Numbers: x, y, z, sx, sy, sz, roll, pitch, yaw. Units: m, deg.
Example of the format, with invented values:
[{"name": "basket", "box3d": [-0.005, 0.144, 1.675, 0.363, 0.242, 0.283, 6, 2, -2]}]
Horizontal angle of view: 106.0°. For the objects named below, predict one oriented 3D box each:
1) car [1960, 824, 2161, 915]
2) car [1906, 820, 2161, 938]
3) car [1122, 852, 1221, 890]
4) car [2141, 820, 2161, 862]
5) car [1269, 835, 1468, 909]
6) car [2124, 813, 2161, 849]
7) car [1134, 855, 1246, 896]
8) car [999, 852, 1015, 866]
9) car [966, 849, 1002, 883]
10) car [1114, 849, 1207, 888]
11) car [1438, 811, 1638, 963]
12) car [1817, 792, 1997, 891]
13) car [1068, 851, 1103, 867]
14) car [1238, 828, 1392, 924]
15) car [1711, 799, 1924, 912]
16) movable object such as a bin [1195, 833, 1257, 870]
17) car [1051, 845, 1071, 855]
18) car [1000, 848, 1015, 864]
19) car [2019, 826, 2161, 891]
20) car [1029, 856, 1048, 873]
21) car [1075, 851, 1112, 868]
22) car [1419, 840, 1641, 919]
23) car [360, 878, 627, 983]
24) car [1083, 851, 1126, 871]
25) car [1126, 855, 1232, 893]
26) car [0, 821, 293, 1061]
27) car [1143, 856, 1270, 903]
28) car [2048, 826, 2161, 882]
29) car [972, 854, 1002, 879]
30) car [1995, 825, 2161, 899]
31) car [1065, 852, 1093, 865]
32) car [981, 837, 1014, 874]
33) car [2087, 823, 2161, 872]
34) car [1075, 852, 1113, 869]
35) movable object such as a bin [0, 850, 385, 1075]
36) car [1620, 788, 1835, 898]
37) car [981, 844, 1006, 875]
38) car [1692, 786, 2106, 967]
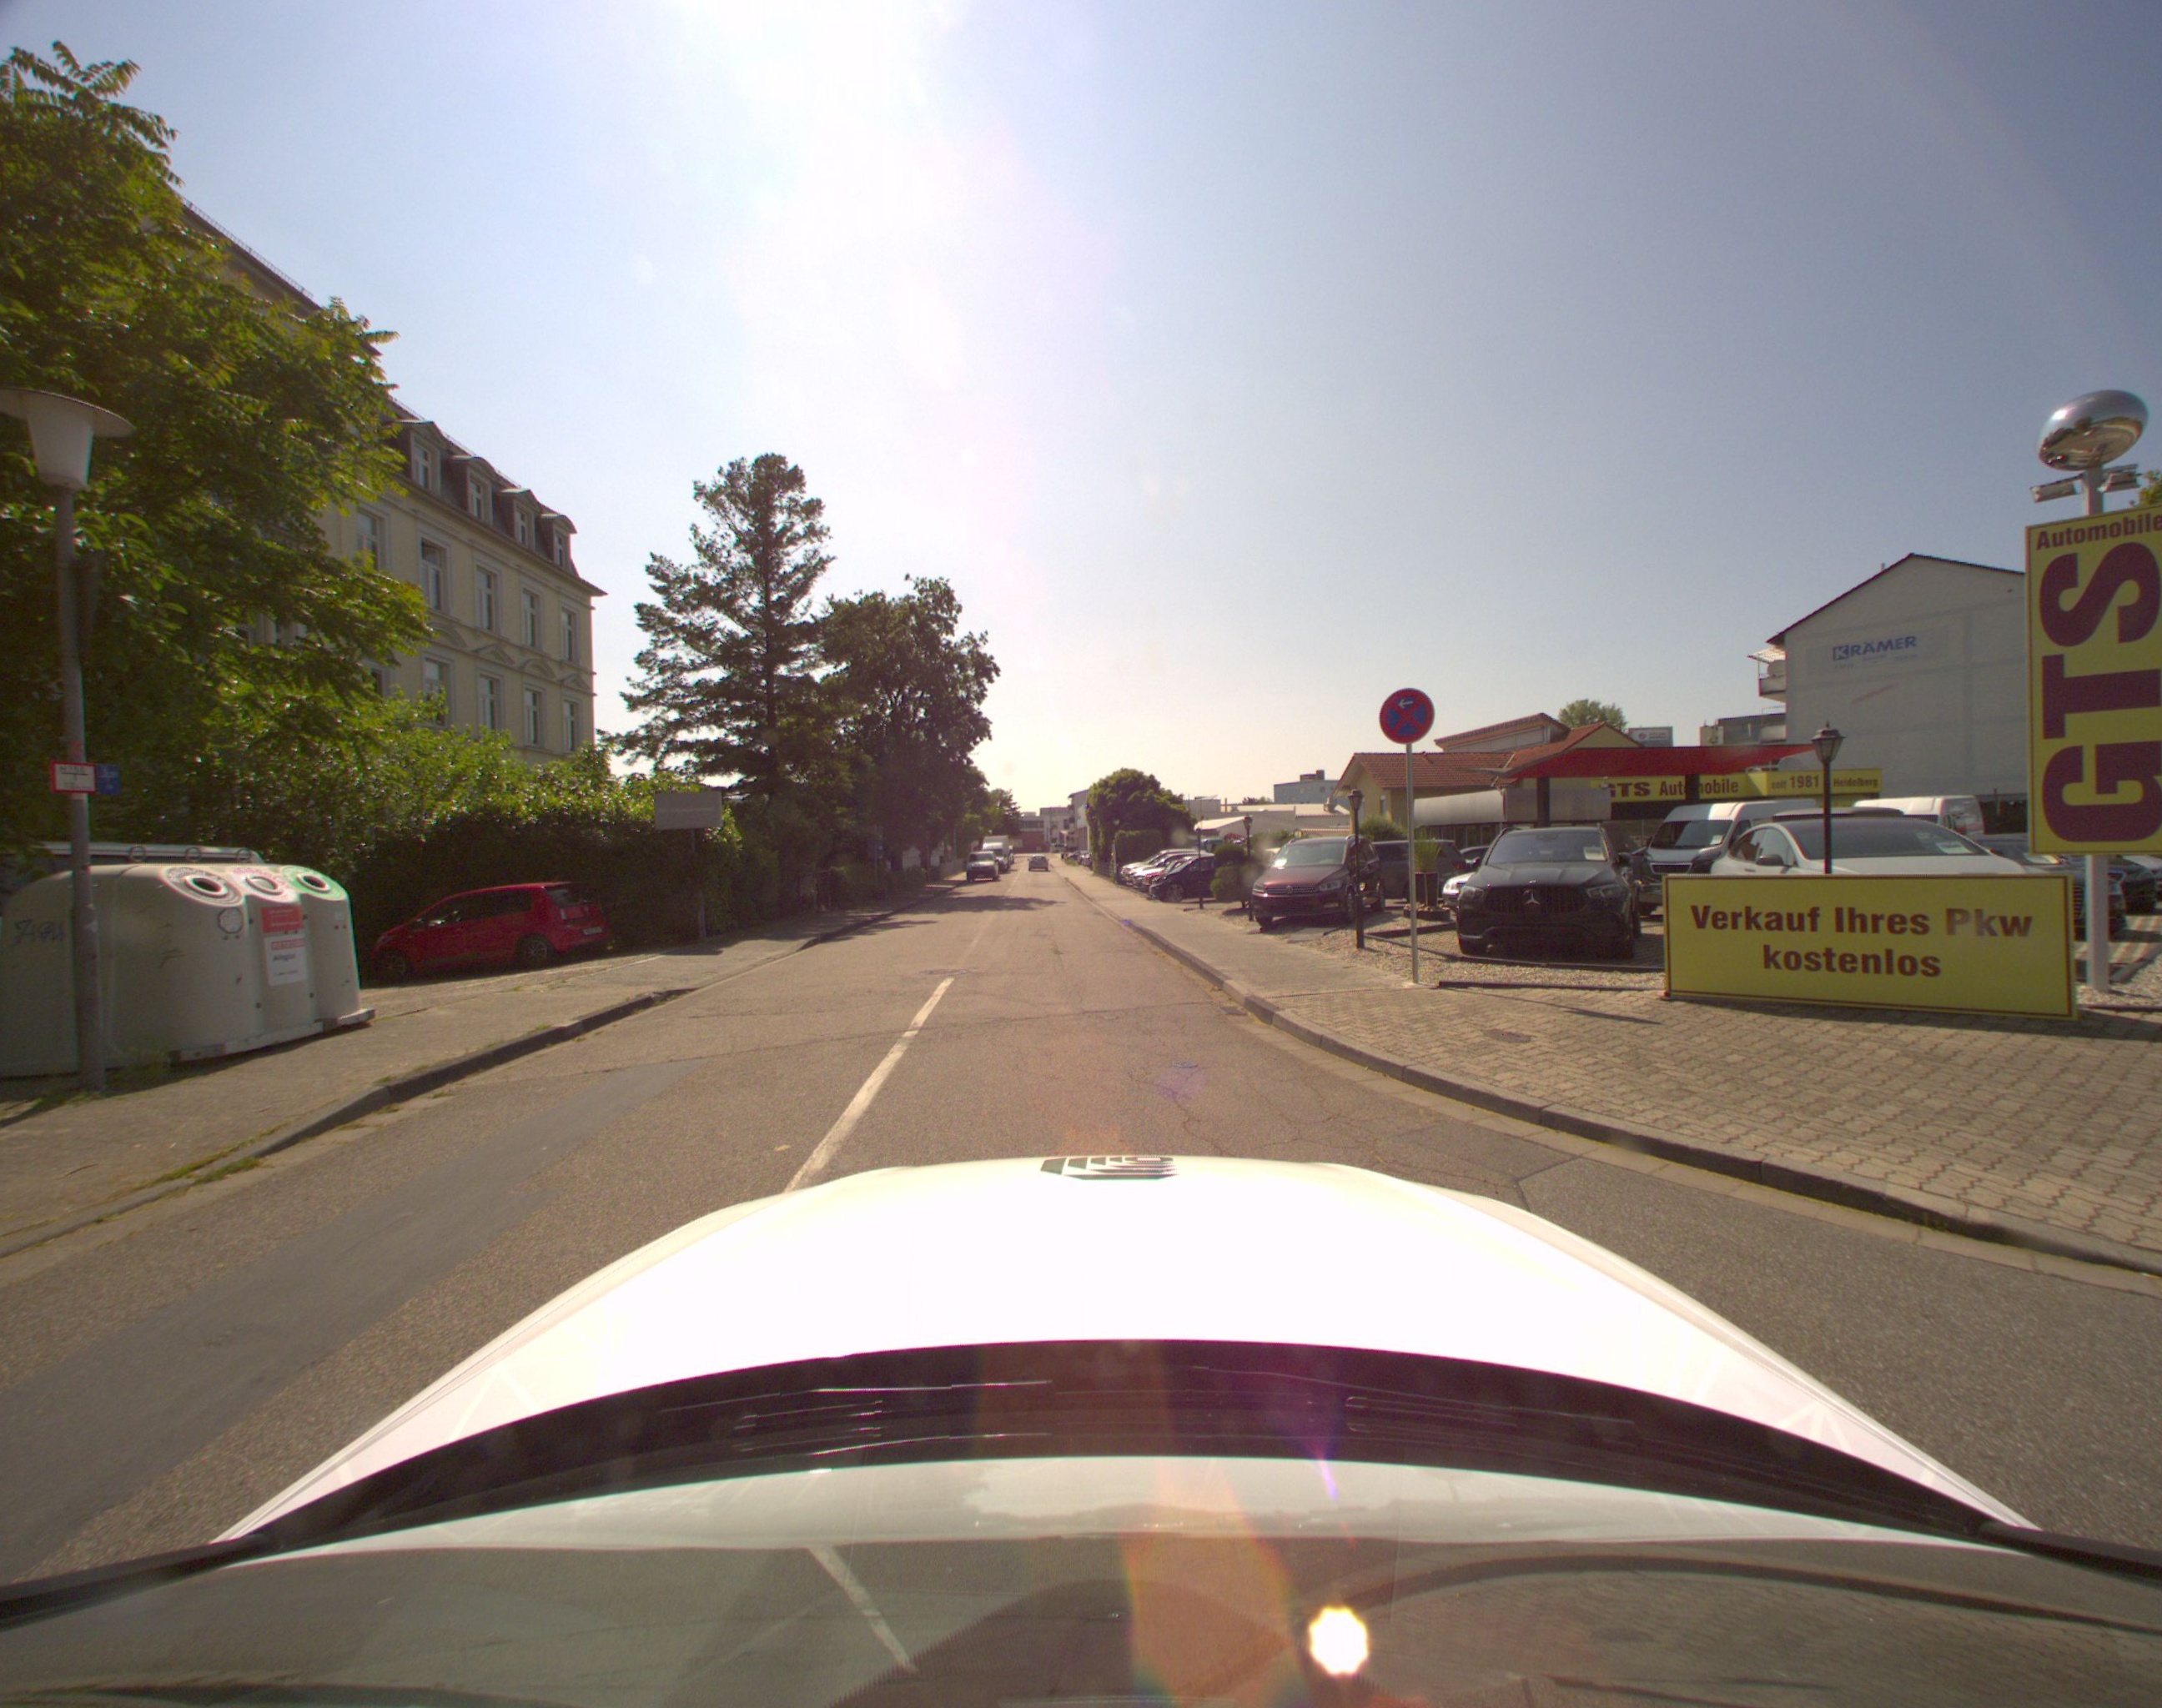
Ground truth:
[{"name": "car", "box3d": [18.623, 0.258, 15.375, 1.818, 1.473, 4.025, -4, -2, 34]}, {"name": "car", "box3d": [14.277, 0.342, 12.210, 1.818, 1.473, 4.025, -4, -2, 34]}, {"name": "car", "box3d": [4.062, 0.749, 36.924, 4.107, 1.603, 1.866, -1, 0, -6]}, {"name": "car", "box3d": [37.781, -0.502, 26.974, 1.759, 1.473, 4.025, -4, -2, 29]}, {"name": "car", "box3d": [7.738, 0.496, 22.188, 4.836, 1.842, 2.173, -1, 0, 19]}, {"name": "car", "box3d": [59.742, -1.272, 44.130, 1.768, 1.958, 3.890, -1, 2, -40]}, {"name": "car", "box3d": [4.252, 0.819, 32.010, 4.040, 1.489, 1.794, -1, 0, -6]}, {"name": "car", "box3d": [-9.310, 0.643, 102.642, 1.827, 1.686, 3.995, -1, 0, -3]}, {"name": "car", "box3d": [-6.310, 0.783, 53.374, 2.030, 2.056, 3.995, -1, -1, -3]}, {"name": "car", "box3d": [3.813, 0.677, 39.445, 4.153, 1.750, 1.888, -1, 0, -6]}, {"name": "car", "box3d": [6.617, 0.430, 11.528, 2.022, 1.707, 4.342, -2, -2, 35]}, {"name": "car", "box3d": [22.782, -0.358, 22.393, 5.739, 2.429, 2.231, 0, 3, -32]}, {"name": "car", "box3d": [0.519, 0.536, 92.163, 3.820, 1.763, 1.780, 0, 0, -3]}, {"name": "car", "box3d": [4.845, 0.395, 16.419, 1.787, 1.656, 4.342, -3, -1, 32]}, {"name": "car", "box3d": [17.317, 0.043, 19.120, 4.836, 2.350, 2.232, 0, -1, -29]}, {"name": "movable object such as a bin", "box3d": [12.041, -0.220, 67.816, 4.803, 2.907, 1.999, -1, 0, -1]}, {"name": "car", "box3d": [-4.196, -0.824, 169.239, 3.988, 1.909, 1.809, -1, 1, -11]}, {"name": "car", "box3d": [-9.725, 0.292, 108.503, 1.827, 2.118, 3.995, -1, 0, -3]}, {"name": "car", "box3d": [26.440, 0.094, 20.884, 1.651, 1.473, 4.024, -4, -2, 27]}, {"name": "car", "box3d": [-3.915, 0.934, 75.320, 1.673, 1.493, 4.601, -1, 0, -3]}, {"name": "car", "box3d": [1.328, 0.603, 86.259, 3.820, 1.763, 1.854, 0, 0, -3]}, {"name": "car", "box3d": [10.428, 0.533, 18.919, 4.687, 1.575, 1.902, -2, 0, -20]}, {"name": "car", "box3d": [-10.276, 1.295, 14.441, 3.385, 1.466, 1.694, -4, 0, 0]}, {"name": "car", "box3d": [2.147, 0.662, 74.461, 3.820, 1.763, 1.854, 0, 0, -3]}, {"name": "car", "box3d": [4.095, 0.818, 34.399, 4.101, 1.489, 1.866, -1, 0, -6]}, {"name": "car", "box3d": [-9.616, 0.749, 6.547, 1.877, 1.920, 4.531, -3, -3, 6]}, {"name": "car", "box3d": [4.389, 0.880, 28.900, 4.114, 1.489, 1.866, -1, 0, -6]}, {"name": "car", "box3d": [30.298, -0.027, 23.538, 1.651, 1.473, 4.025, -4, -2, 29]}, {"name": "car", "box3d": [-6.651, 0.879, 57.913, 1.827, 1.692, 3.995, -1, 0, -3]}, {"name": "car", "box3d": [23.124, 0.169, 18.650, 1.762, 1.473, 4.025, -4, -2, 31]}, {"name": "car", "box3d": [-0.279, 0.605, 111.063, 3.852, 1.763, 1.822, 0, 0, -3]}, {"name": "car", "box3d": [-8.068, 0.166, 79.894, 2.800, 3.317, 7.772, -1, 0, -3]}, {"name": "car", "box3d": [34.361, -0.250, 25.814, 1.651, 1.473, 4.025, -4, -2, 29]}, {"name": "car", "box3d": [1.345, 0.655, 84.038, 3.820, 1.763, 1.854, 0, 0, -3]}, {"name": "movable object such as a bin", "box3d": [-7.323, 0.809, 6.831, 1.449, 1.526, 1.771, -4, -1, -7]}, {"name": "car", "box3d": [18.145, -0.278, 22.805, 6.164, 2.758, 2.264, 0, -1, -26]}, {"name": "car", "box3d": [-7.351, 0.442, 68.544, 1.827, 2.504, 3.995, -1, 0, -3]}, {"name": "car", "box3d": [9.610, 0.343, 10.217, 1.958, 1.707, 4.688, -2, -3, 23]}]
